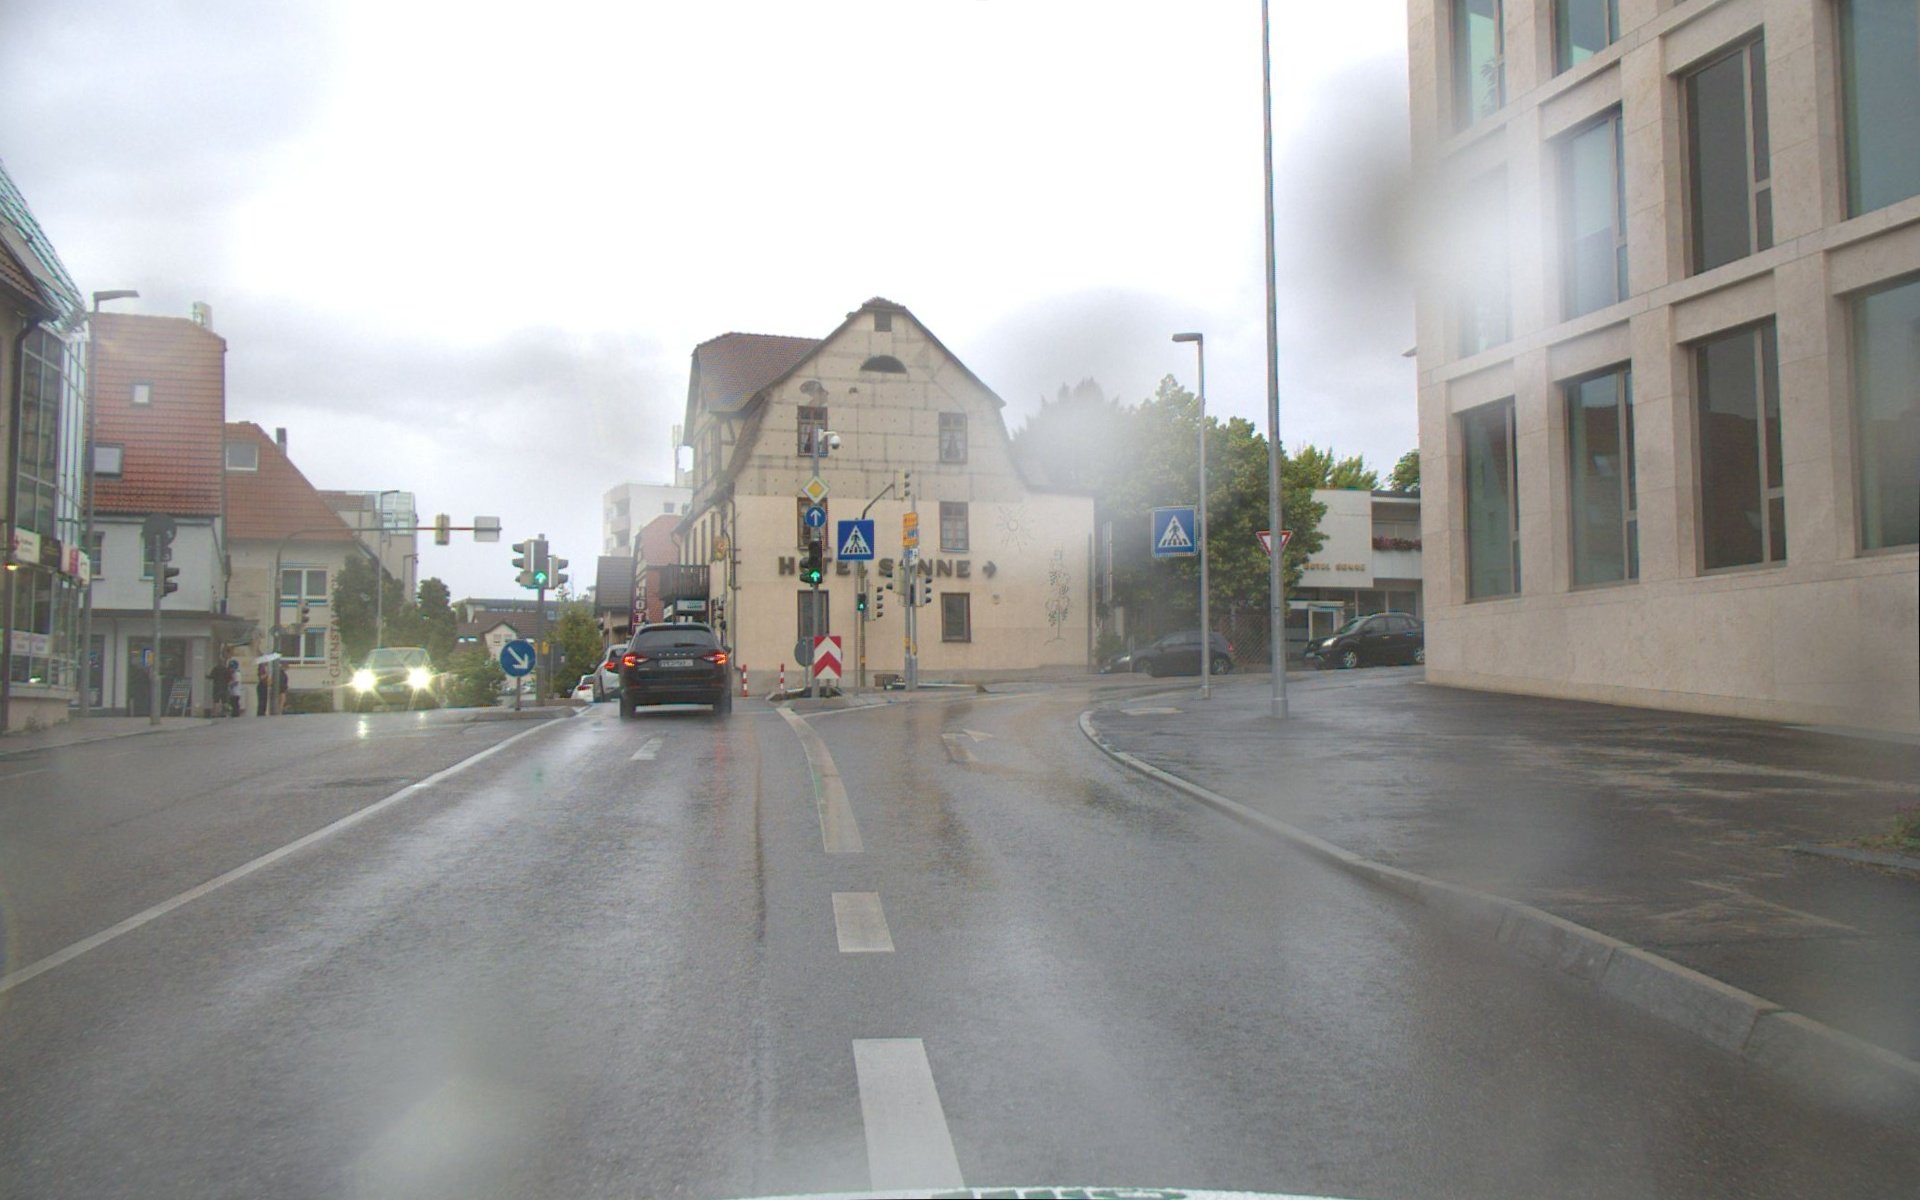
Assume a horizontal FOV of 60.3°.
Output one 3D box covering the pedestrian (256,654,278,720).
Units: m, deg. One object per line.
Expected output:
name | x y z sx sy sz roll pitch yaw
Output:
pedestrian | -20.496 2.573 48.915 0.527 1.904 0.630 -2 -2 -22

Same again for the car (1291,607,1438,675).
car | 13.019 1.322 53.293 4.237 1.847 1.768 -2 -5 -19

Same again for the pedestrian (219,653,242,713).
pedestrian | -22.260 2.524 50.469 0.584 1.805 0.630 -2 -2 -22

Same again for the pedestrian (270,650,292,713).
pedestrian | -21.027 2.521 51.226 0.594 1.900 0.743 -2 -2 -22

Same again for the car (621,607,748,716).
car | -4.516 0.945 27.410 1.908 1.594 4.409 0 0 -8

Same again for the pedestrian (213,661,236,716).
pedestrian | -21.860 2.629 49.164 0.584 1.587 0.630 -2 -2 -22

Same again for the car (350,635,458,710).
car | -12.553 1.594 37.543 1.854 1.493 3.987 -2 0 -12

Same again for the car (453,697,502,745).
car | -30.468 7.609 104.662 2.544 2.672 6.533 -3 -2 -14

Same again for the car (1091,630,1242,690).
car | 6.376 1.859 51.068 4.240 1.531 1.767 -2 -5 -21

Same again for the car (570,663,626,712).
car | -12.861 3.082 58.864 1.854 1.493 3.988 -2 0 -12

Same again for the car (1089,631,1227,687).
car | 6.506 1.940 54.478 4.110 1.545 1.768 -2 -5 -19

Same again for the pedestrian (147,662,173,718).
pedestrian | -23.011 2.584 47.601 0.584 1.587 0.630 -2 -2 -22
